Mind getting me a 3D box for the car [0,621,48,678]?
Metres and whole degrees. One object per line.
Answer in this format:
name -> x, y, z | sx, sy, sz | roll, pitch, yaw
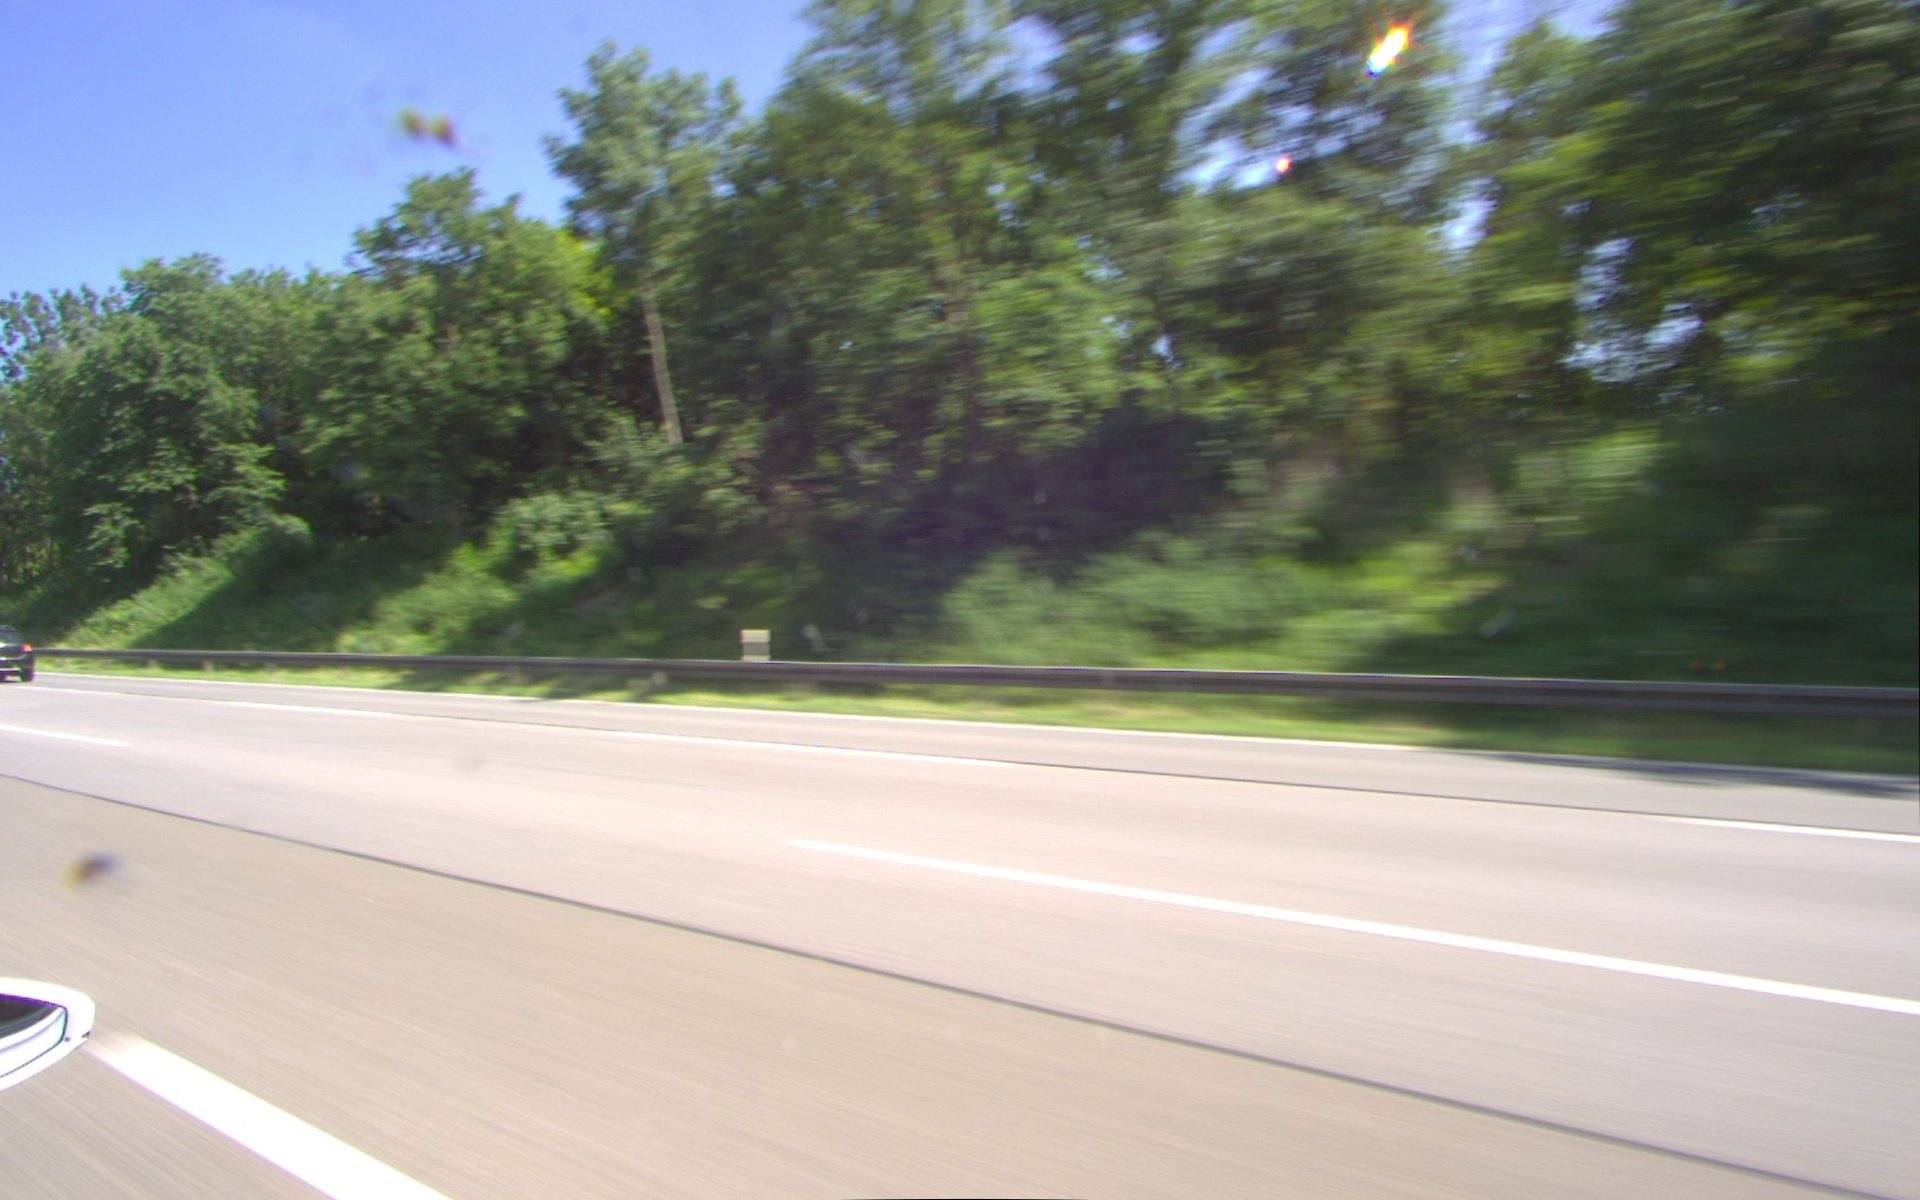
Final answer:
car -> -28.167, 1.391, 28.918 | 4.200, 1.588, 1.761 | -1, -1, 34
